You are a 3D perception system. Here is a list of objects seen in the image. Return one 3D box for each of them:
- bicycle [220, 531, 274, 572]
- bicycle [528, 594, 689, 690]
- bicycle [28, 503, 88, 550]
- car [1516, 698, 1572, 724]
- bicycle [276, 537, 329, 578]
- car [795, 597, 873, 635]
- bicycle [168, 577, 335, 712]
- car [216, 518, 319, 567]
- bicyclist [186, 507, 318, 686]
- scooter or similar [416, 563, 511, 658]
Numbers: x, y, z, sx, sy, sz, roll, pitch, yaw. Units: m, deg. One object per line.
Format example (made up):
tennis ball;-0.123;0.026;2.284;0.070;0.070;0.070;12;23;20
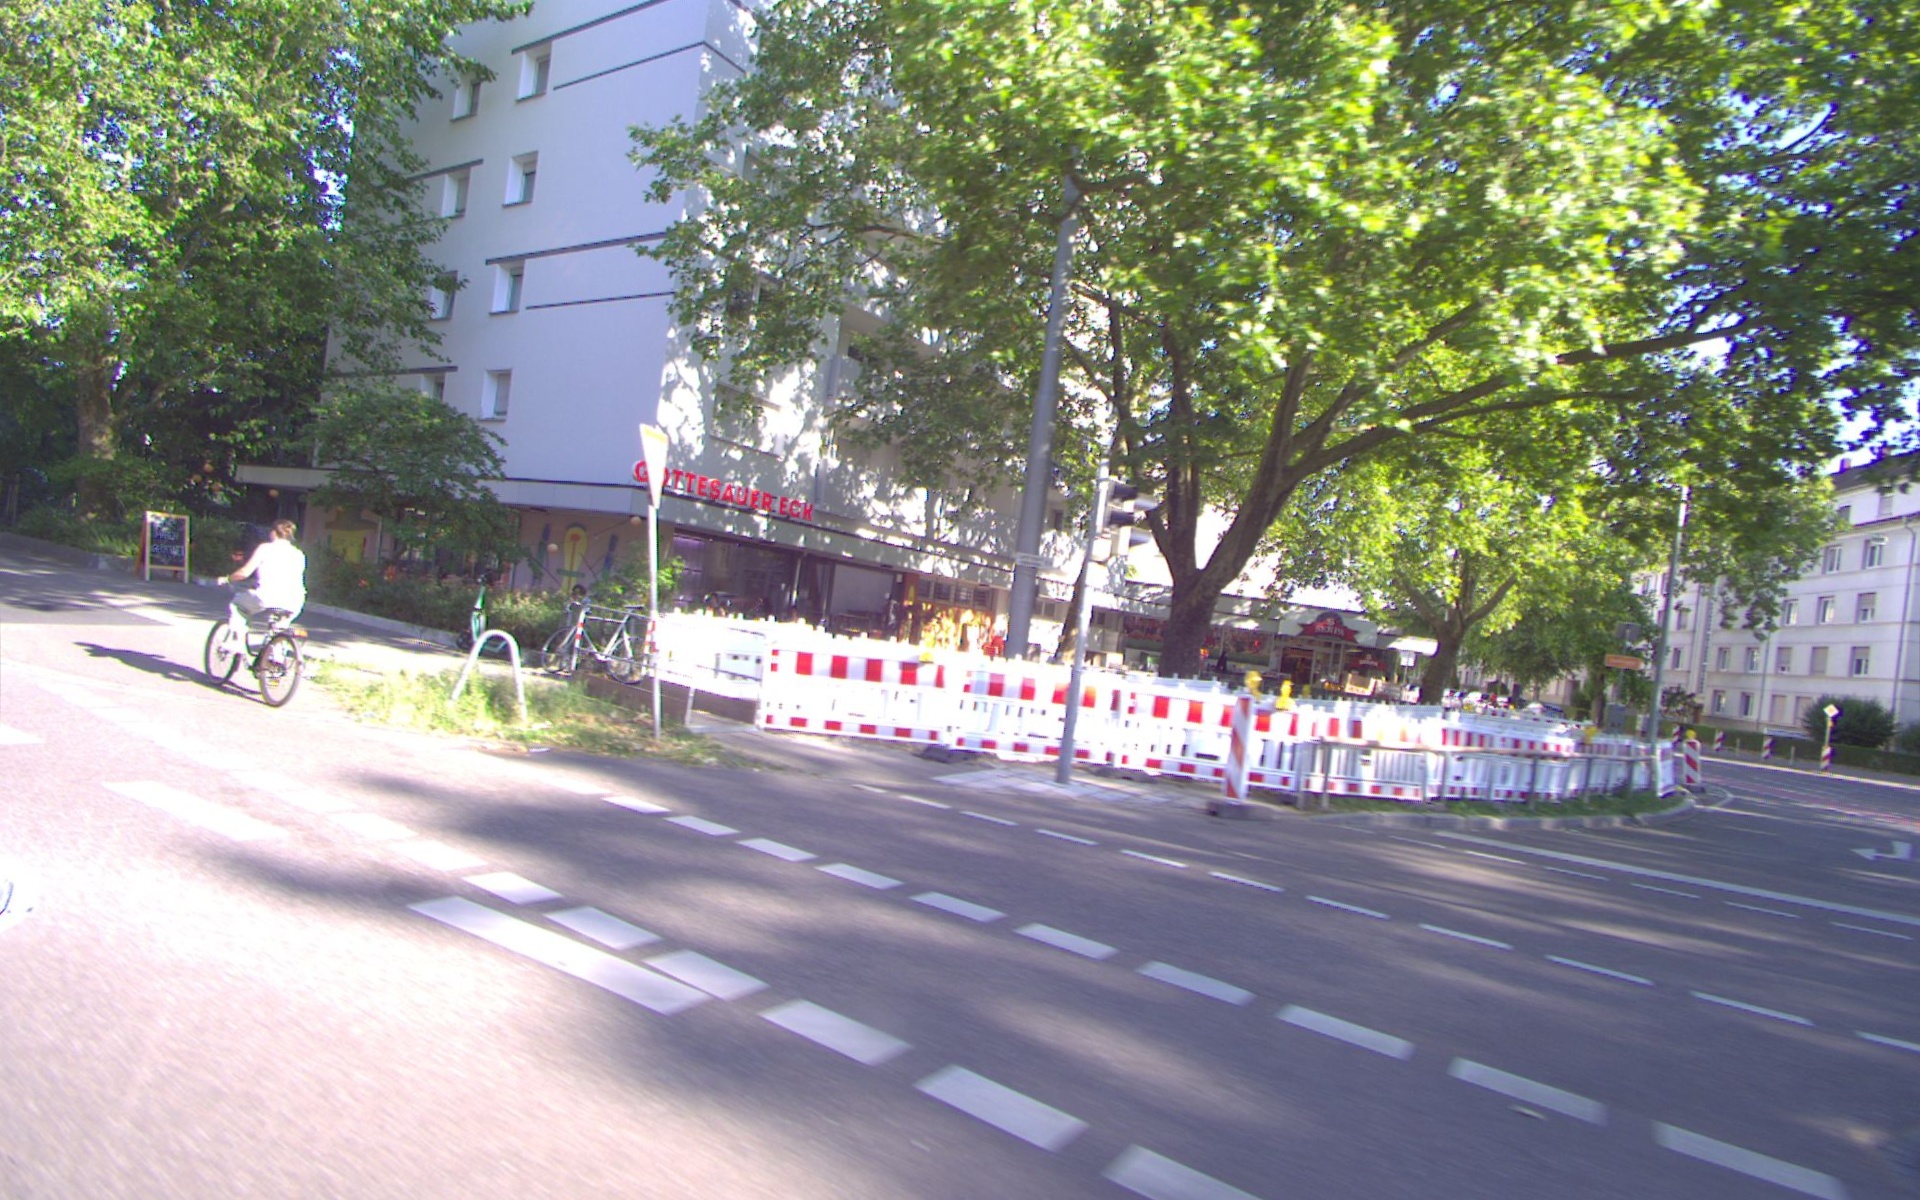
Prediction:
bicycle;-24.424;-1.664;34.449;1.791;1.191;0.790;7;-2;34
bicycle;-4.889;0.576;14.040;1.917;1.039;0.605;8;1;1
bicycle;-27.123;-2.205;30.251;1.791;1.191;0.790;7;-2;34
car;40.016;7.558;69.023;1.899;1.375;4.446;8;-3;12
bicycle;-23.376;-1.514;35.757;1.791;1.191;0.790;7;-2;34
car;-7.055;0.916;56.497;3.926;1.469;2.002;8;-2;2
bicycle;-6.702;0.407;9.491;1.738;1.039;0.604;7;0;33
car;-29.661;-2.472;43.087;3.932;1.469;1.999;7;-3;30
bicyclist;-6.691;-0.033;9.509;0.846;1.570;0.604;7;0;33
scooter or similar;-7.389;0.154;14.963;1.268;1.273;0.561;6;1;30
